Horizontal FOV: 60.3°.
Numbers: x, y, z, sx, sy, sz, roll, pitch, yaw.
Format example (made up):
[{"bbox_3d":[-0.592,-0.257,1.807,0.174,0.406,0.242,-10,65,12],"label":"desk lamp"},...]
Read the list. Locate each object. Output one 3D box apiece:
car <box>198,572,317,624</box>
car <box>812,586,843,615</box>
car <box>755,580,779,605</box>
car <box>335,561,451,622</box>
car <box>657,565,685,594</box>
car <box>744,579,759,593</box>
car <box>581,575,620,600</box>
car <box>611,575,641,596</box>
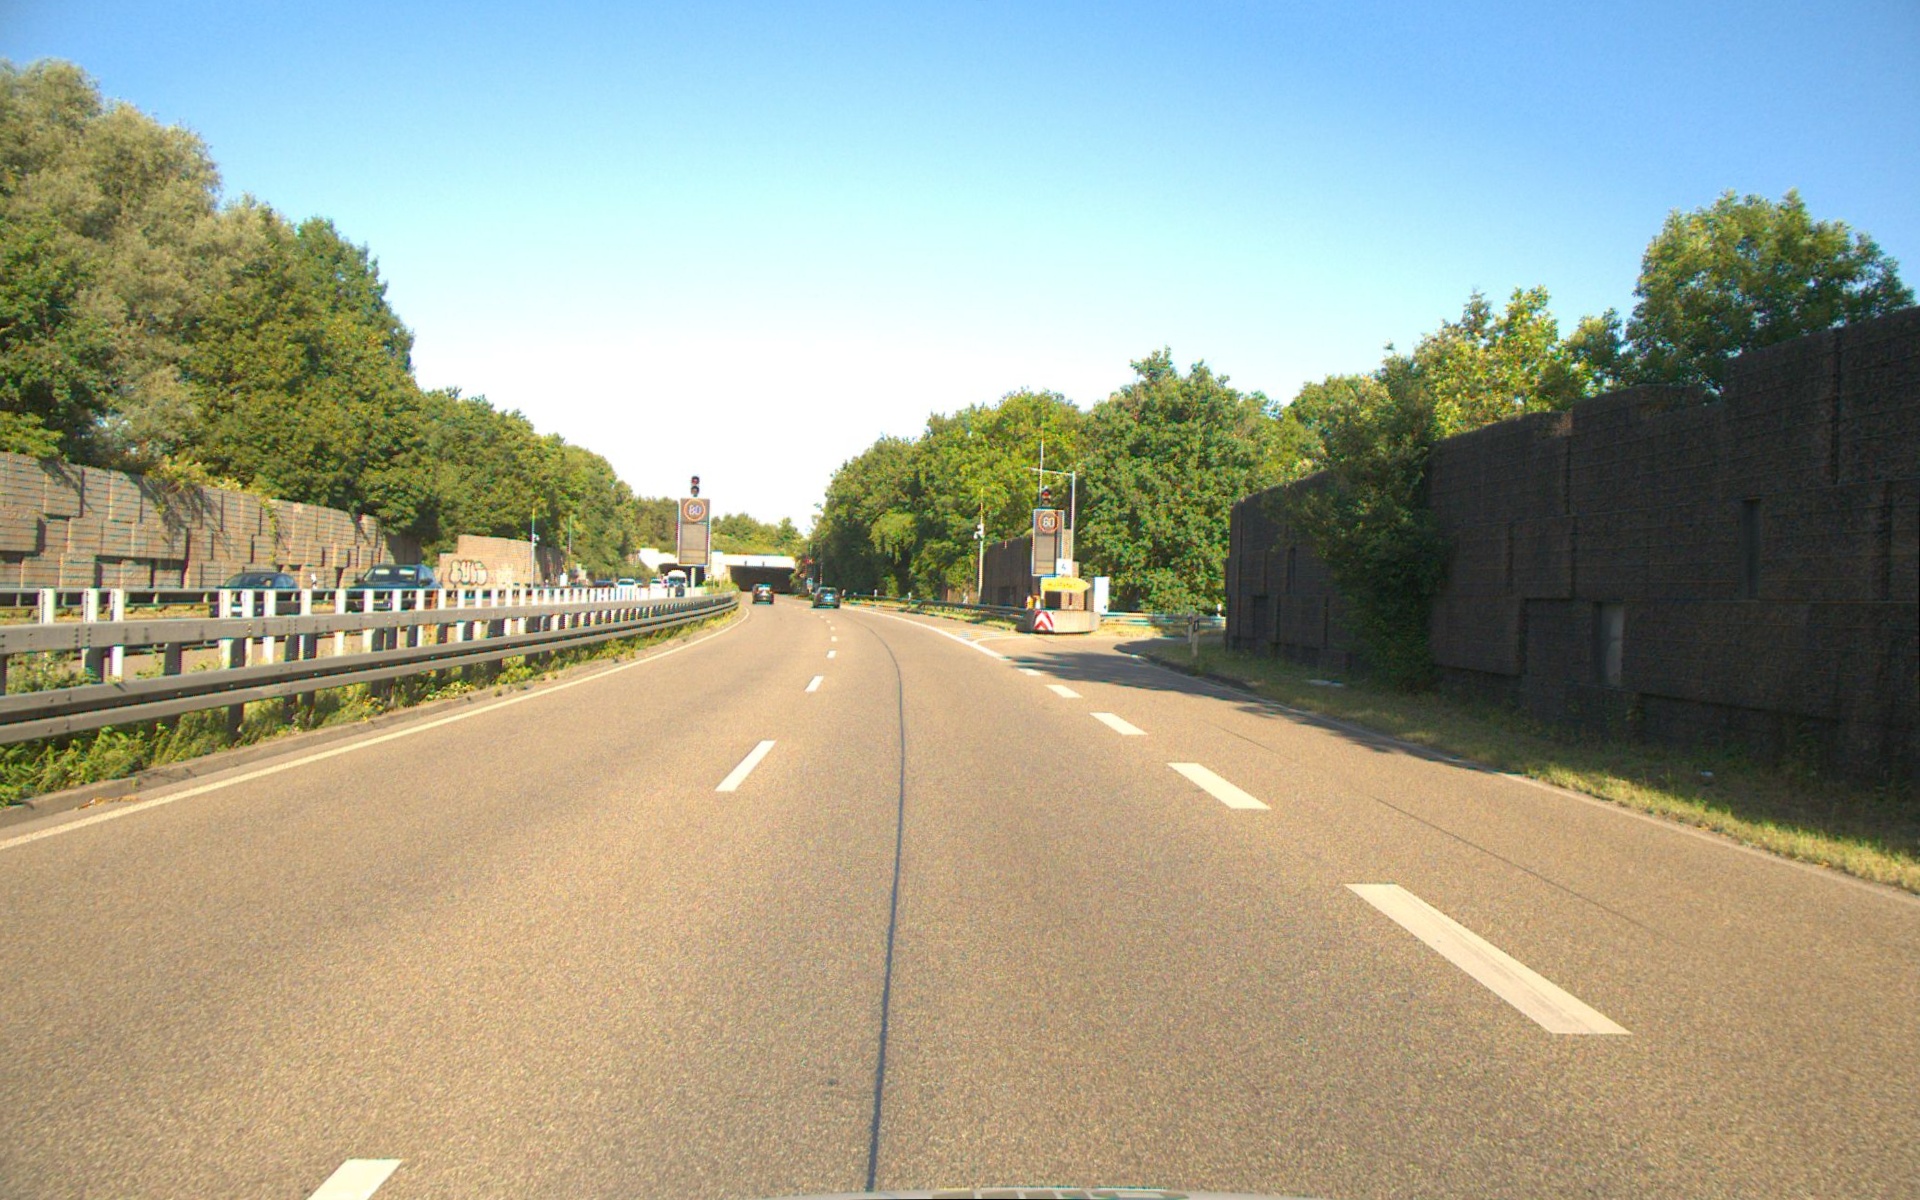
[{"bbox_3d":[-20.468,-0.079,48.386,1.859,1.446,4.133,0,1,-3],"label":"car"},{"bbox_3d":[-9.580,0.025,119.393,1.956,1.959,3.994,2,1,-7],"label":"car"},{"bbox_3d":[-16.318,-0.639,140.041,1.956,1.959,3.994,2,1,-7],"label":"car"},{"bbox_3d":[-16.515,-0.276,48.438,1.860,1.601,4.806,3,1,-3],"label":"car"},{"bbox_3d":[-28.990,-2.084,166.233,2.080,2.729,6.581,3,1,-5],"label":"car"},{"bbox_3d":[-31.541,-2.103,250.256,1.957,1.959,3.991,2,1,-10],"label":"car"},{"bbox_3d":[-23.916,-0.850,110.137,1.955,1.505,4.530,3,1,-6],"label":"car"},{"bbox_3d":[-28.488,-1.253,141.163,1.955,1.623,4.616,3,1,-6],"label":"car"}]
